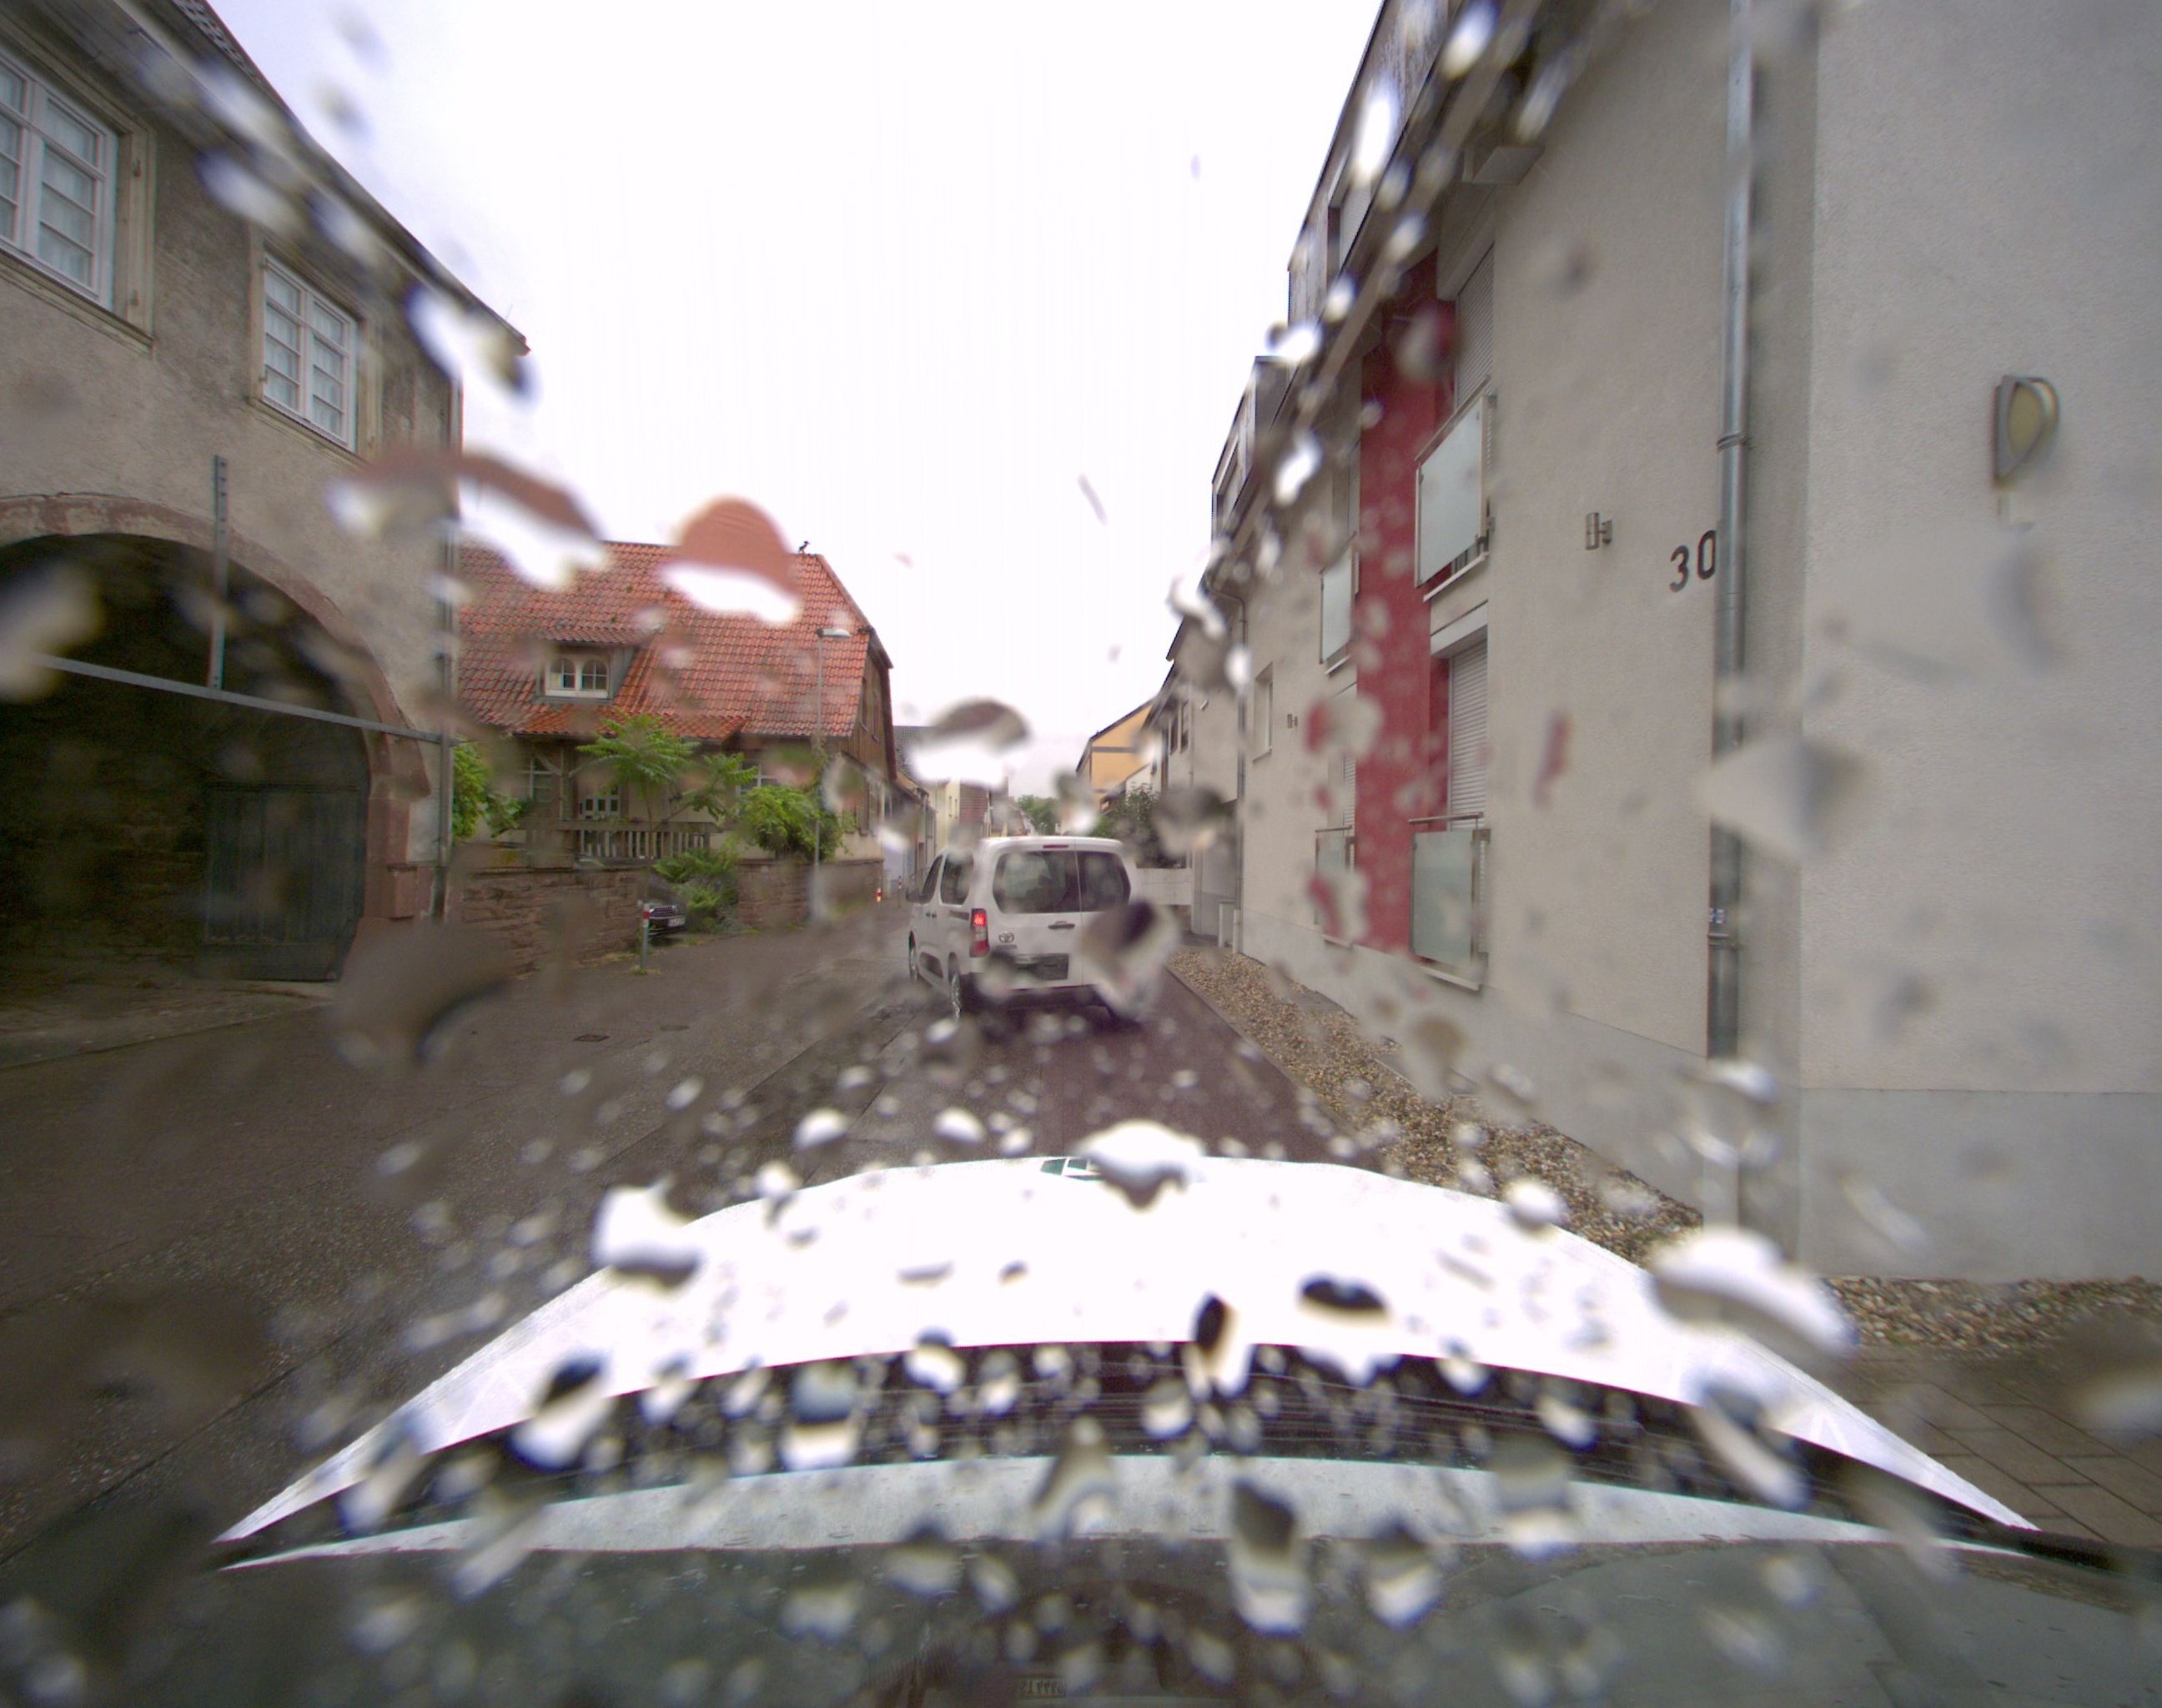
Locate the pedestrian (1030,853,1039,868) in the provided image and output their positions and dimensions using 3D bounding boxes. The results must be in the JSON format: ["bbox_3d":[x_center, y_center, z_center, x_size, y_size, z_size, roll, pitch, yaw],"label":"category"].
[{"bbox_3d":[-5.799,0.841,101.226,1.049,1.893,0.876,0,-1,-5],"label":"pedestrian"}]

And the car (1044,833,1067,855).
[{"bbox_3d":[-2.362,-0.924,76.285,1.988,2.014,3.998,0,-1,-1],"label":"car"}]

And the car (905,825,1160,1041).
[{"bbox_3d":[-0.776,0.665,8.890,1.780,1.780,3.974,0,-1,-19],"label":"car"}]

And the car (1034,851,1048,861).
[{"bbox_3d":[-6.801,0.297,139.082,1.986,1.559,3.434,-2,2,2],"label":"car"}]

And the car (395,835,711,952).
[{"bbox_3d":[-8.512,0.614,13.359,3.970,1.425,1.737,5,-1,3],"label":"car"}]

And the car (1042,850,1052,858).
[{"bbox_3d":[-6.563,0.091,156.668,1.582,1.441,3.769,2,-1,3],"label":"car"}]
